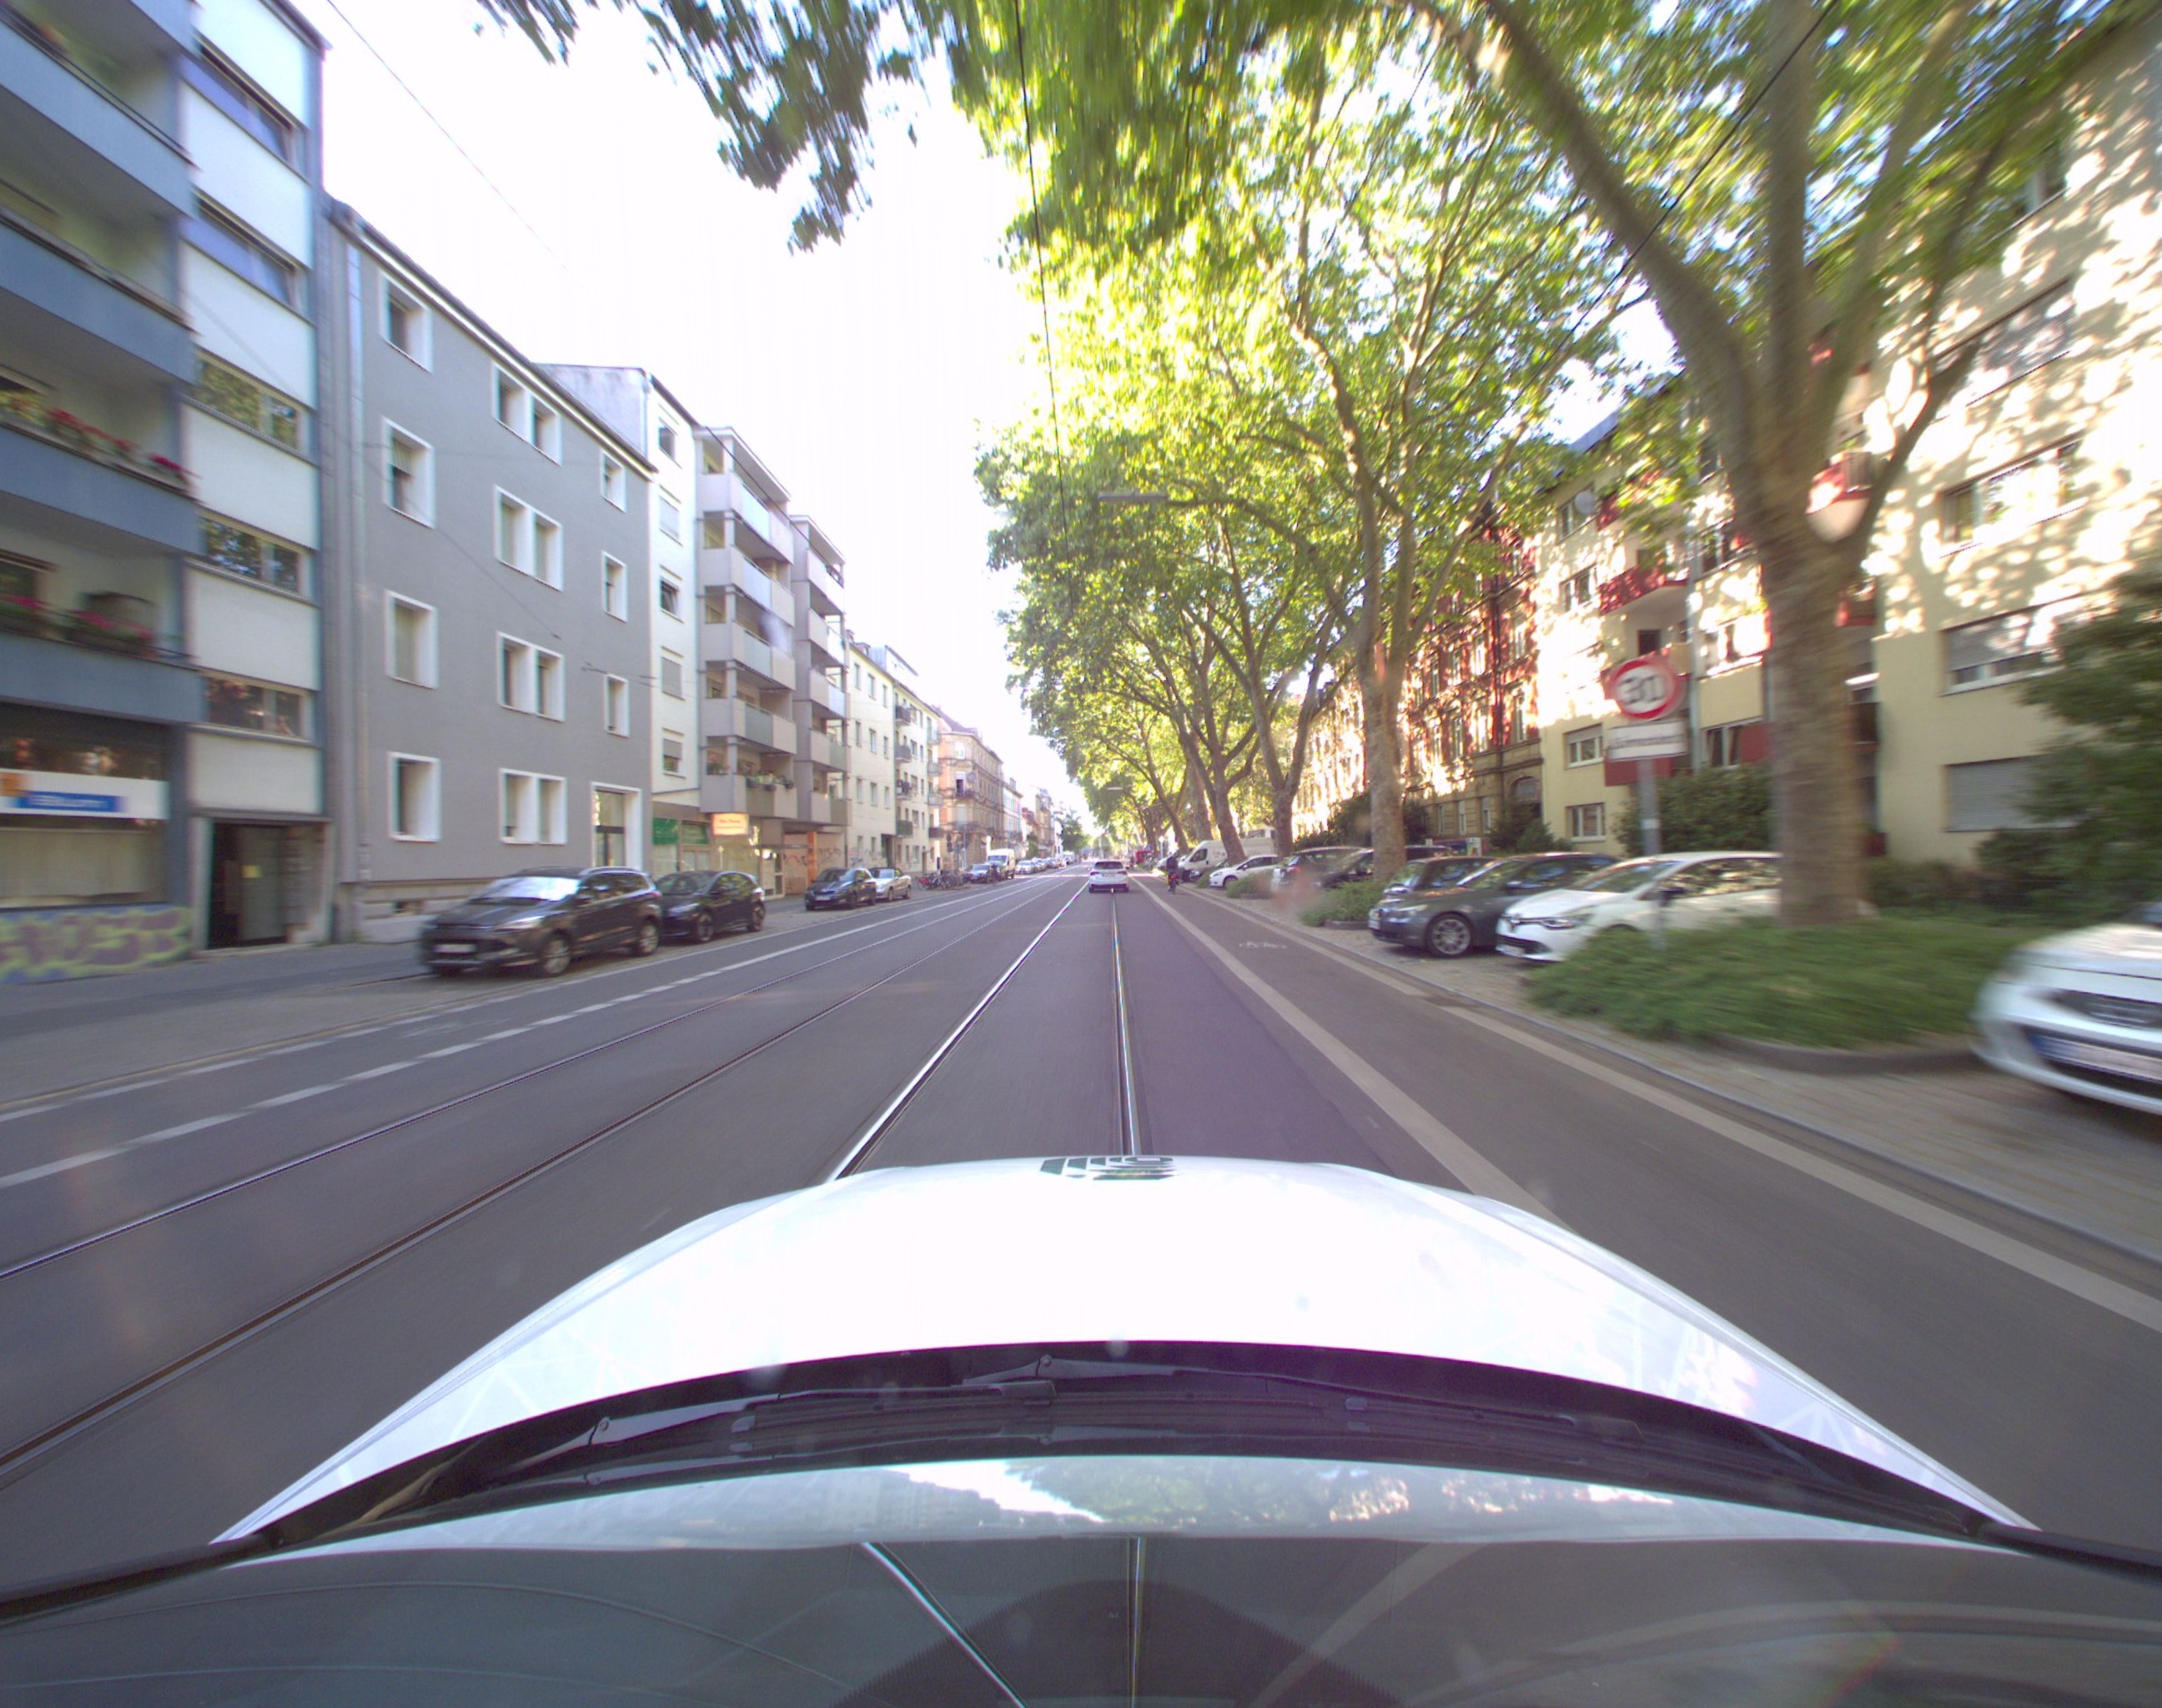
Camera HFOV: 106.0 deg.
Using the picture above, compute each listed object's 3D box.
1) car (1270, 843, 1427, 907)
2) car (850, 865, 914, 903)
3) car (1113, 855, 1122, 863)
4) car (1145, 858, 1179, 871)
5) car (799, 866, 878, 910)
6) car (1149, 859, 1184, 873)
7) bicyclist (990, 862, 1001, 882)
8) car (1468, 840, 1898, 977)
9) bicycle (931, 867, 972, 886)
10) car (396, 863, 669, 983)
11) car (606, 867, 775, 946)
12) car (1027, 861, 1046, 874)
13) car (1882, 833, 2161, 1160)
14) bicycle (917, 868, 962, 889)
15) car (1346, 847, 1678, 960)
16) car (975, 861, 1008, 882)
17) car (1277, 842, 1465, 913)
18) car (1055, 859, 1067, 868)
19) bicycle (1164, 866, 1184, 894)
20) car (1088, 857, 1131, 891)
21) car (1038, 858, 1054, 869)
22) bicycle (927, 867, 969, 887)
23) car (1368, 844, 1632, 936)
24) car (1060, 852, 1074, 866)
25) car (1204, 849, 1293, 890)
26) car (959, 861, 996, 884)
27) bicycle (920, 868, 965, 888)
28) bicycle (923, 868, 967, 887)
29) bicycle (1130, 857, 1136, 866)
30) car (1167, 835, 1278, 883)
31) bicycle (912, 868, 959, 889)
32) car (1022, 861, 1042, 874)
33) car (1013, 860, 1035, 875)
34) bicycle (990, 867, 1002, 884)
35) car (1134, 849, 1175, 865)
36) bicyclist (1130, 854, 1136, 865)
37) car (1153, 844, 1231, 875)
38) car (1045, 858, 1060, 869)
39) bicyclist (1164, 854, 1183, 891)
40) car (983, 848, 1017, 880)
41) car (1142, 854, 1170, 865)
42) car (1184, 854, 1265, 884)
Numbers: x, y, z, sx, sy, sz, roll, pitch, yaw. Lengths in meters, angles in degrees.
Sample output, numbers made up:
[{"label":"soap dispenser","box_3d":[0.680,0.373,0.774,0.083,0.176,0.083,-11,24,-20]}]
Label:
[{"label":"car","box_3d":[7.649,0.598,23.540,3.973,1.680,1.723,-1,0,0]},{"label":"car","box_3d":[-8.344,1.223,34.452,1.478,1.403,3.995,-1,0,4]},{"label":"car","box_3d":[6.849,0.937,152.907,1.755,1.475,4.002,-2,0,2]},{"label":"car","box_3d":[10.239,1.333,103.032,4.034,1.540,2.001,-1,0,1]},{"label":"car","box_3d":[-8.674,1.175,29.459,1.648,1.437,3.836,-1,0,0]},{"label":"car","box_3d":[10.116,1.422,96.481,4.034,1.540,2.001,-1,0,1]},{"label":"bicyclist","box_3d":[-5.647,1.202,53.912,0.595,1.286,0.917,-2,-1,-1]},{"label":"car","box_3d":[7.398,0.638,10.369,4.021,1.479,1.924,-2,0,1]},{"label":"bicycle","box_3d":[-8.148,1.447,51.273,2.520,1.172,0.718,1,-2,-5]},{"label":"car","box_3d":[-8.967,1.018,13.838,1.696,1.650,4.241,1,0,0]},{"label":"car","box_3d":[-8.810,1.113,18.818,1.696,1.544,4.243,1,0,2]},{"label":"car","box_3d":[-5.721,1.698,104.638,1.986,1.530,4.002,-1,0,2]},{"label":"car","box_3d":[6.830,0.602,4.132,3.886,1.479,1.722,-1,0,-2]},{"label":"bicycle","box_3d":[-8.240,1.422,47.495,2.520,1.172,0.718,1,-2,-5]},{"label":"car","box_3d":[6.494,0.713,12.642,4.129,1.514,1.931,-1,0,0]},{"label":"car","box_3d":[-7.044,1.364,64.410,1.986,1.530,4.002,-1,0,2]},{"label":"car","box_3d":[7.460,0.585,21.237,4.220,1.666,1.848,-1,0,0]},{"label":"car","box_3d":[-3.715,1.785,152.490,1.986,1.640,4.002,0,-1,2]},{"label":"bicycle","box_3d":[3.788,1.042,33.292,0.679,1.071,1.782,-2,0,2]},{"label":"car","box_3d":[1.286,0.842,35.947,1.755,1.384,4.002,-2,0,2]},{"label":"car","box_3d":[-5.110,1.384,119.986,1.986,1.530,4.002,-1,0,2]},{"label":"bicycle","box_3d":[-8.190,1.434,50.219,2.519,1.172,0.718,1,-2,-4]},{"label":"car","box_3d":[7.601,0.630,15.061,3.973,1.514,1.761,-1,0,0]},{"label":"car","box_3d":[-3.215,1.212,193.248,2.957,3.156,5.849,0,-1,2]},{"label":"car","box_3d":[7.393,0.677,36.166,3.618,1.666,1.824,-2,0,4]},{"label":"car","box_3d":[-7.401,1.294,58.634,1.986,1.530,4.002,-1,0,2]},{"label":"bicycle","box_3d":[-8.225,1.427,48.381,2.519,1.172,0.718,1,-2,-4]},{"label":"bicycle","box_3d":[-8.216,1.430,49.370,2.519,1.172,0.718,1,-2,-4]},{"label":"bicycle","box_3d":[6.504,0.972,101.227,0.647,1.071,1.583,-2,0,0]},{"label":"car","box_3d":[8.312,0.319,48.410,6.111,2.635,2.529,-1,-1,0]},{"label":"bicycle","box_3d":[-8.333,1.414,46.614,2.545,1.172,0.873,2,-3,-38]},{"label":"car","box_3d":[-5.970,1.635,99.832,1.986,1.530,4.002,-1,0,2]},{"label":"car","box_3d":[-6.311,1.514,90.681,1.986,1.530,4.002,-1,0,2]},{"label":"bicycle","box_3d":[-5.646,1.438,53.952,0.603,1.071,1.582,-2,0,-1]},{"label":"car","box_3d":[11.441,0.517,127.235,6.111,2.282,2.529,-1,0,0]},{"label":"bicyclist","box_3d":[6.489,0.653,101.171,0.647,1.344,0.934,-2,-1,0]},{"label":"car","box_3d":[9.078,0.453,67.023,6.111,2.282,2.529,-1,0,0]},{"label":"car","box_3d":[-4.410,1.441,126.664,1.986,1.640,4.002,0,-1,2]},{"label":"bicyclist","box_3d":[3.777,0.746,33.214,0.676,1.443,1.048,-2,-1,2]},{"label":"car","box_3d":[-6.951,0.866,70.360,2.170,2.597,4.951,-1,0,2]},{"label":"car","box_3d":[11.233,0.762,122.541,4.034,1.540,2.001,-1,0,1]},{"label":"car","box_3d":[7.989,0.846,45.577,4.041,1.540,1.997,-1,0,-4]}]
